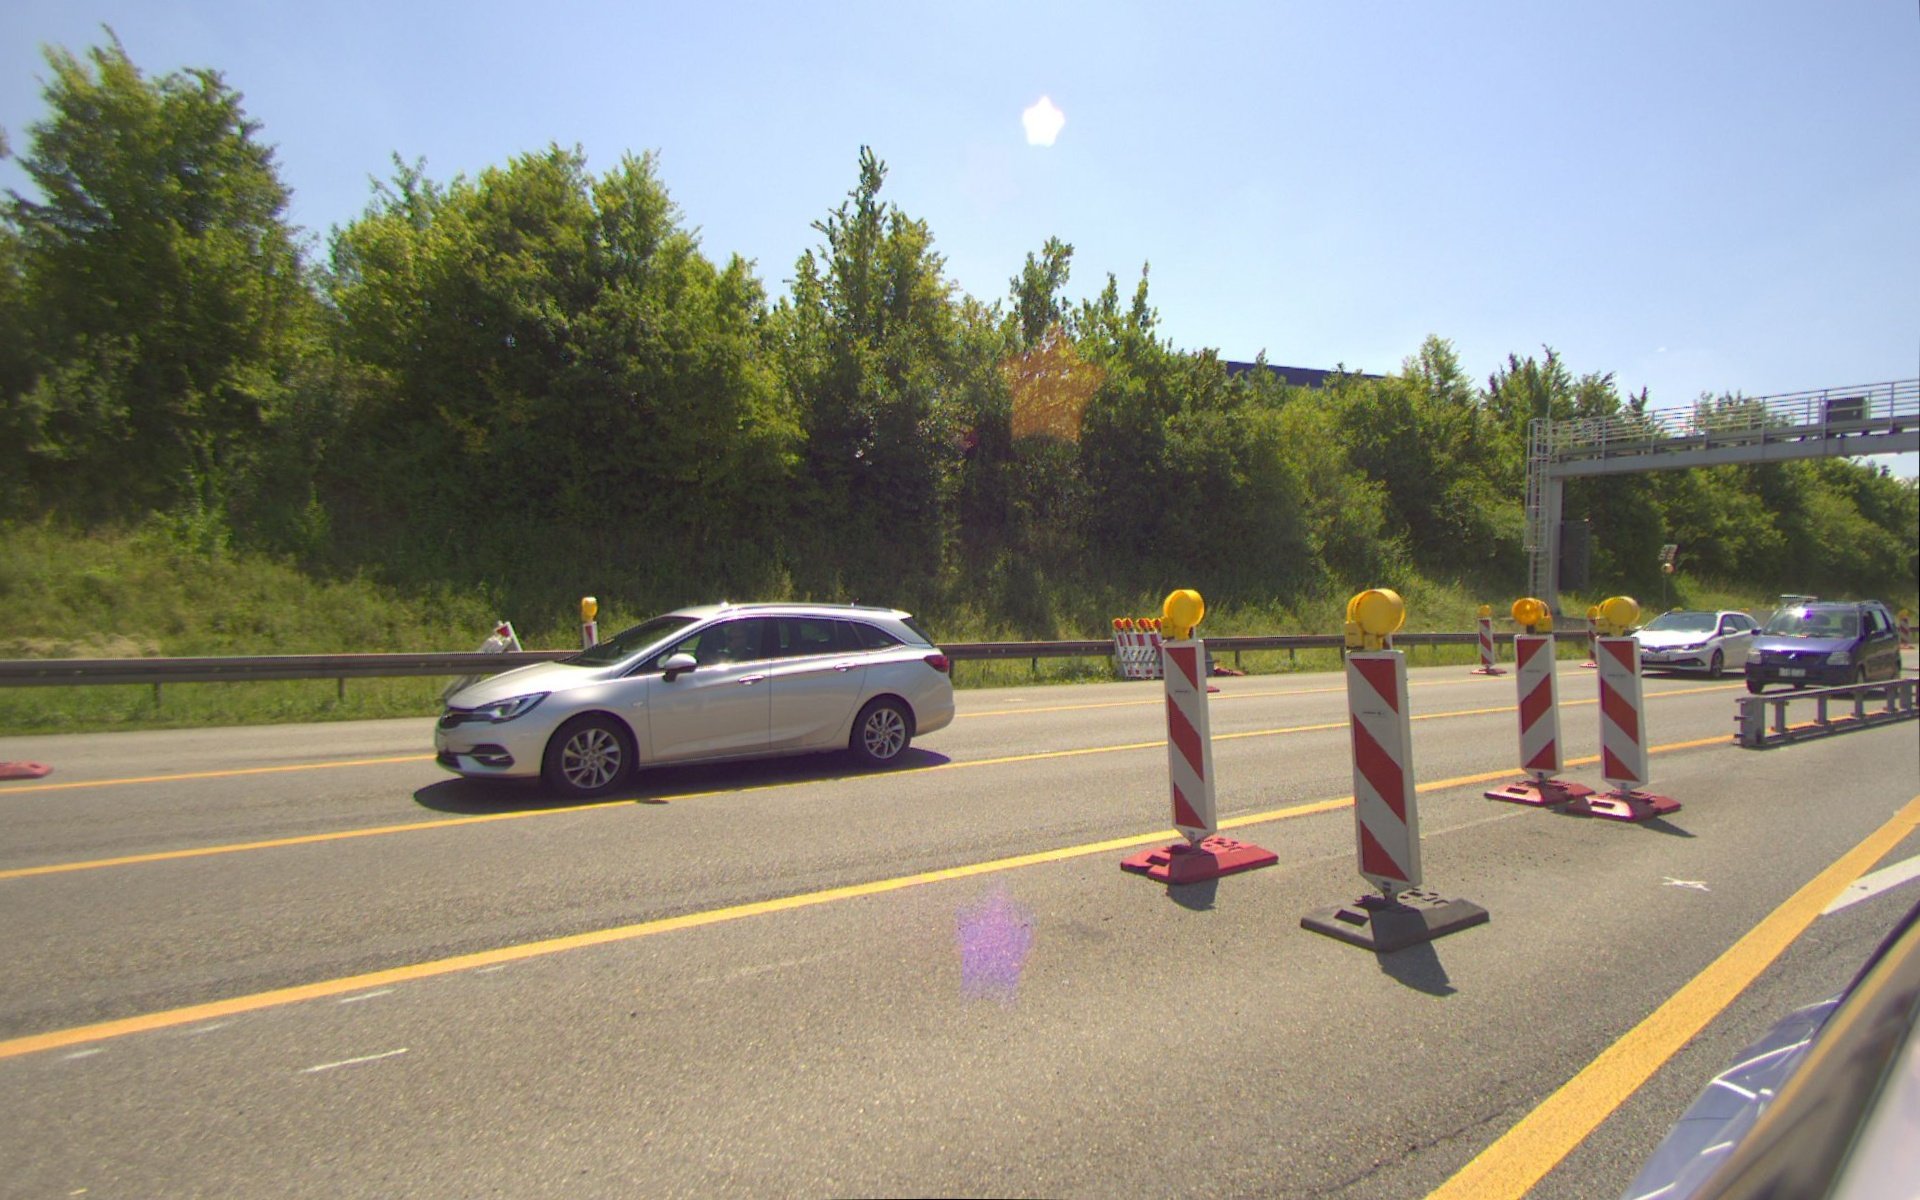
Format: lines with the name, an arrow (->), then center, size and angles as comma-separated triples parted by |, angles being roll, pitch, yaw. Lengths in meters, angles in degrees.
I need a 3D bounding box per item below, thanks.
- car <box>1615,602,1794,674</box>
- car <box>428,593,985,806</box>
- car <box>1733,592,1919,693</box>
car -> 16.957, 0.794, 22.985 | 4.562, 1.483, 1.822 | 0, 0, -33
car -> -2.126, 0.698, 9.181 | 4.565, 1.483, 1.820 | 0, 0, -36
car -> 16.409, 0.707, 18.820 | 4.562, 1.663, 1.822 | 0, 0, -33
